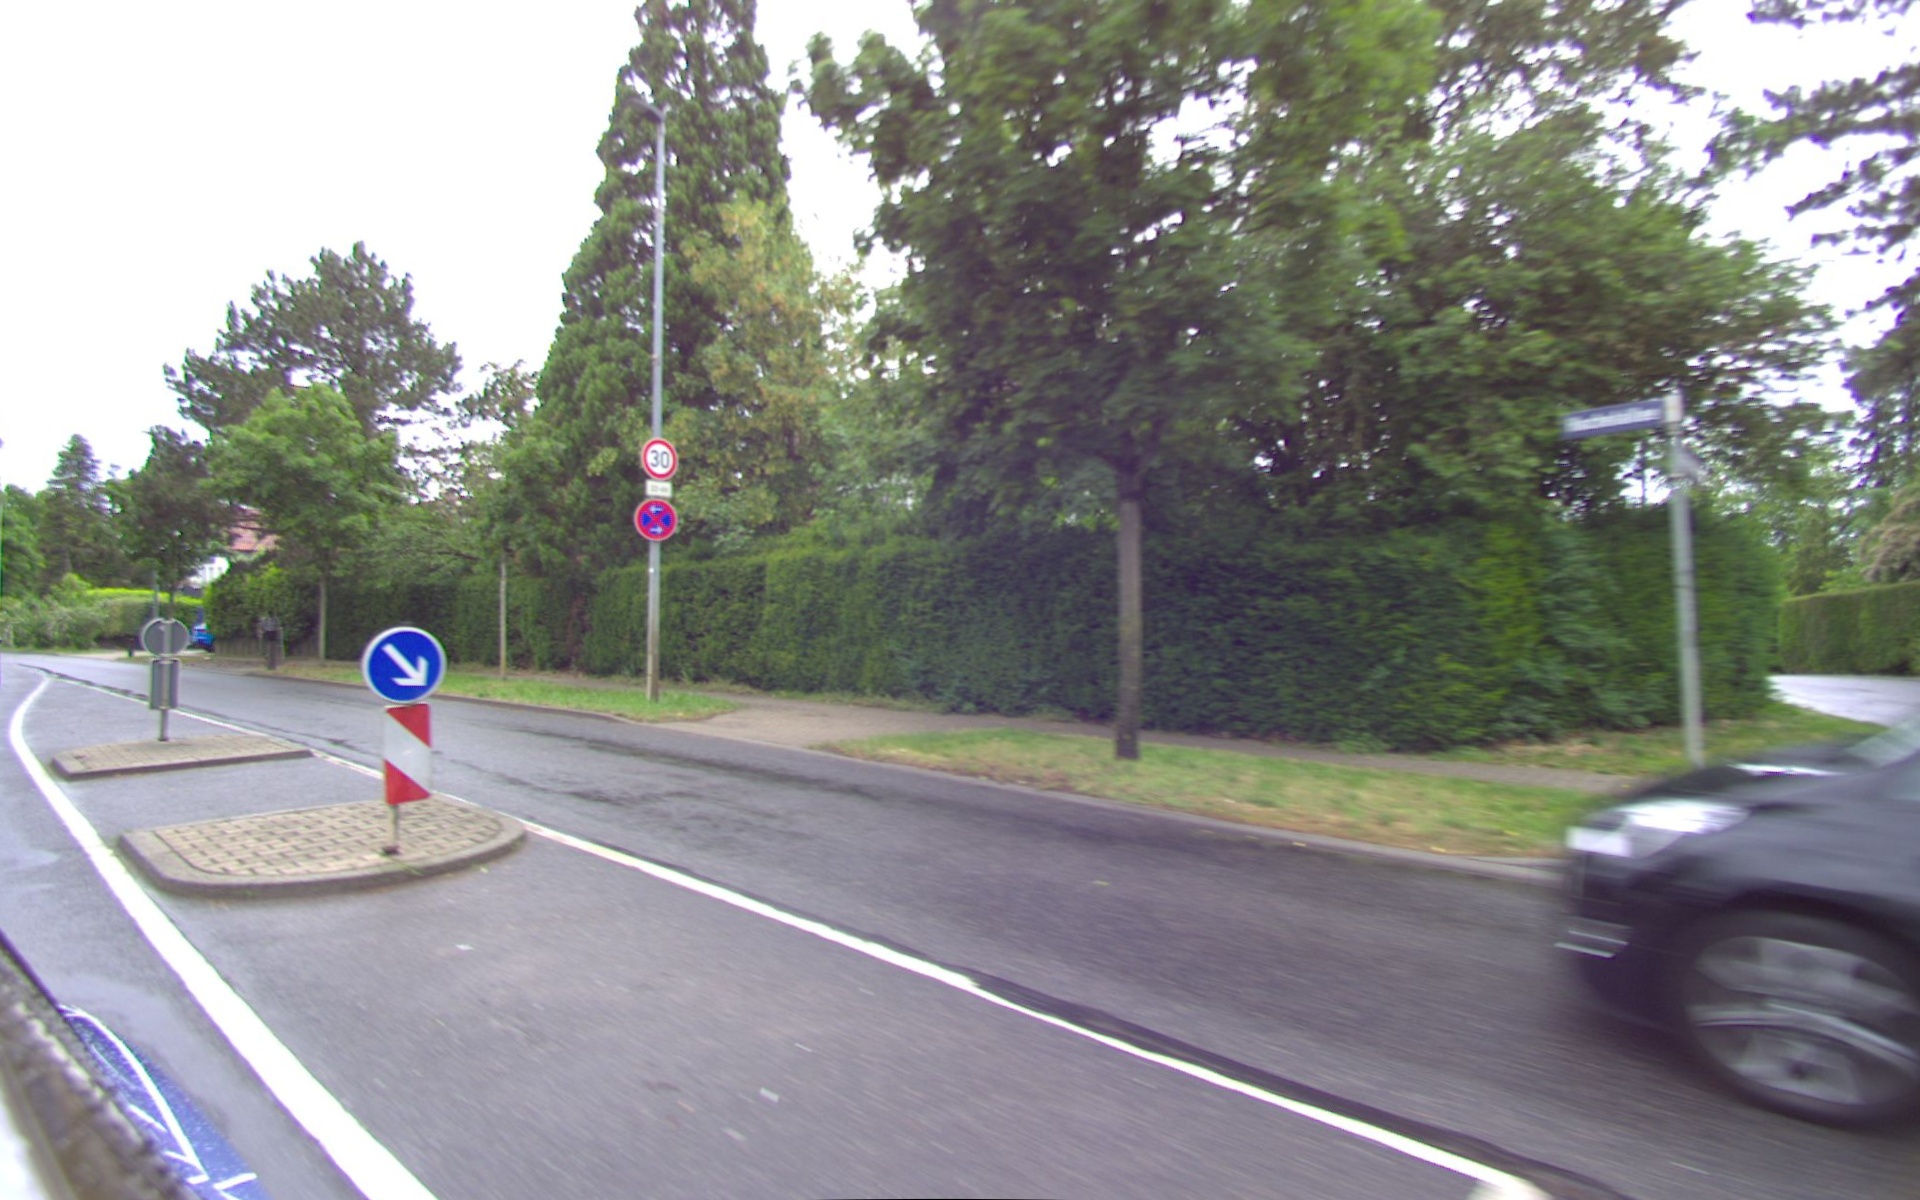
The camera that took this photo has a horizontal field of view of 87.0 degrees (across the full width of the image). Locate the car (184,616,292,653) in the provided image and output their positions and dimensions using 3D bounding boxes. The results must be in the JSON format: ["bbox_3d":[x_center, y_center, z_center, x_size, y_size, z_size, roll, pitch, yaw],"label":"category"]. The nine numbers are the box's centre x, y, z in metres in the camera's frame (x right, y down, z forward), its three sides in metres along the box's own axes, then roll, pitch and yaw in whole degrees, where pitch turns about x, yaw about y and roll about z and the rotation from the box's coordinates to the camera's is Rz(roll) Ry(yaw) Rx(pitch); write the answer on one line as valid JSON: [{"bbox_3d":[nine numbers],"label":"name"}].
[{"bbox_3d":[-33.819,1.602,47.479,1.816,1.598,3.813,-1,0,39],"label":"car"}]

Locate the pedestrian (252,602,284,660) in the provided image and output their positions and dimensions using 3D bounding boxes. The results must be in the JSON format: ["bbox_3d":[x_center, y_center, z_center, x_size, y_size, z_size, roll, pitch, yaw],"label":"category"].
[{"bbox_3d":[-22.423,0.995,32.801,0.702,1.844,0.882,-1,0,-42],"label":"pedestrian"}]

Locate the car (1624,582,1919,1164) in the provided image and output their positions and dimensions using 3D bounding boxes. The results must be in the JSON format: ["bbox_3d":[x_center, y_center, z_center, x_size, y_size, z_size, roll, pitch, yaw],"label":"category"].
[{"bbox_3d":[4.250,0.737,2.558,4.001,1.589,1.971,-1,-1,44],"label":"car"}]
